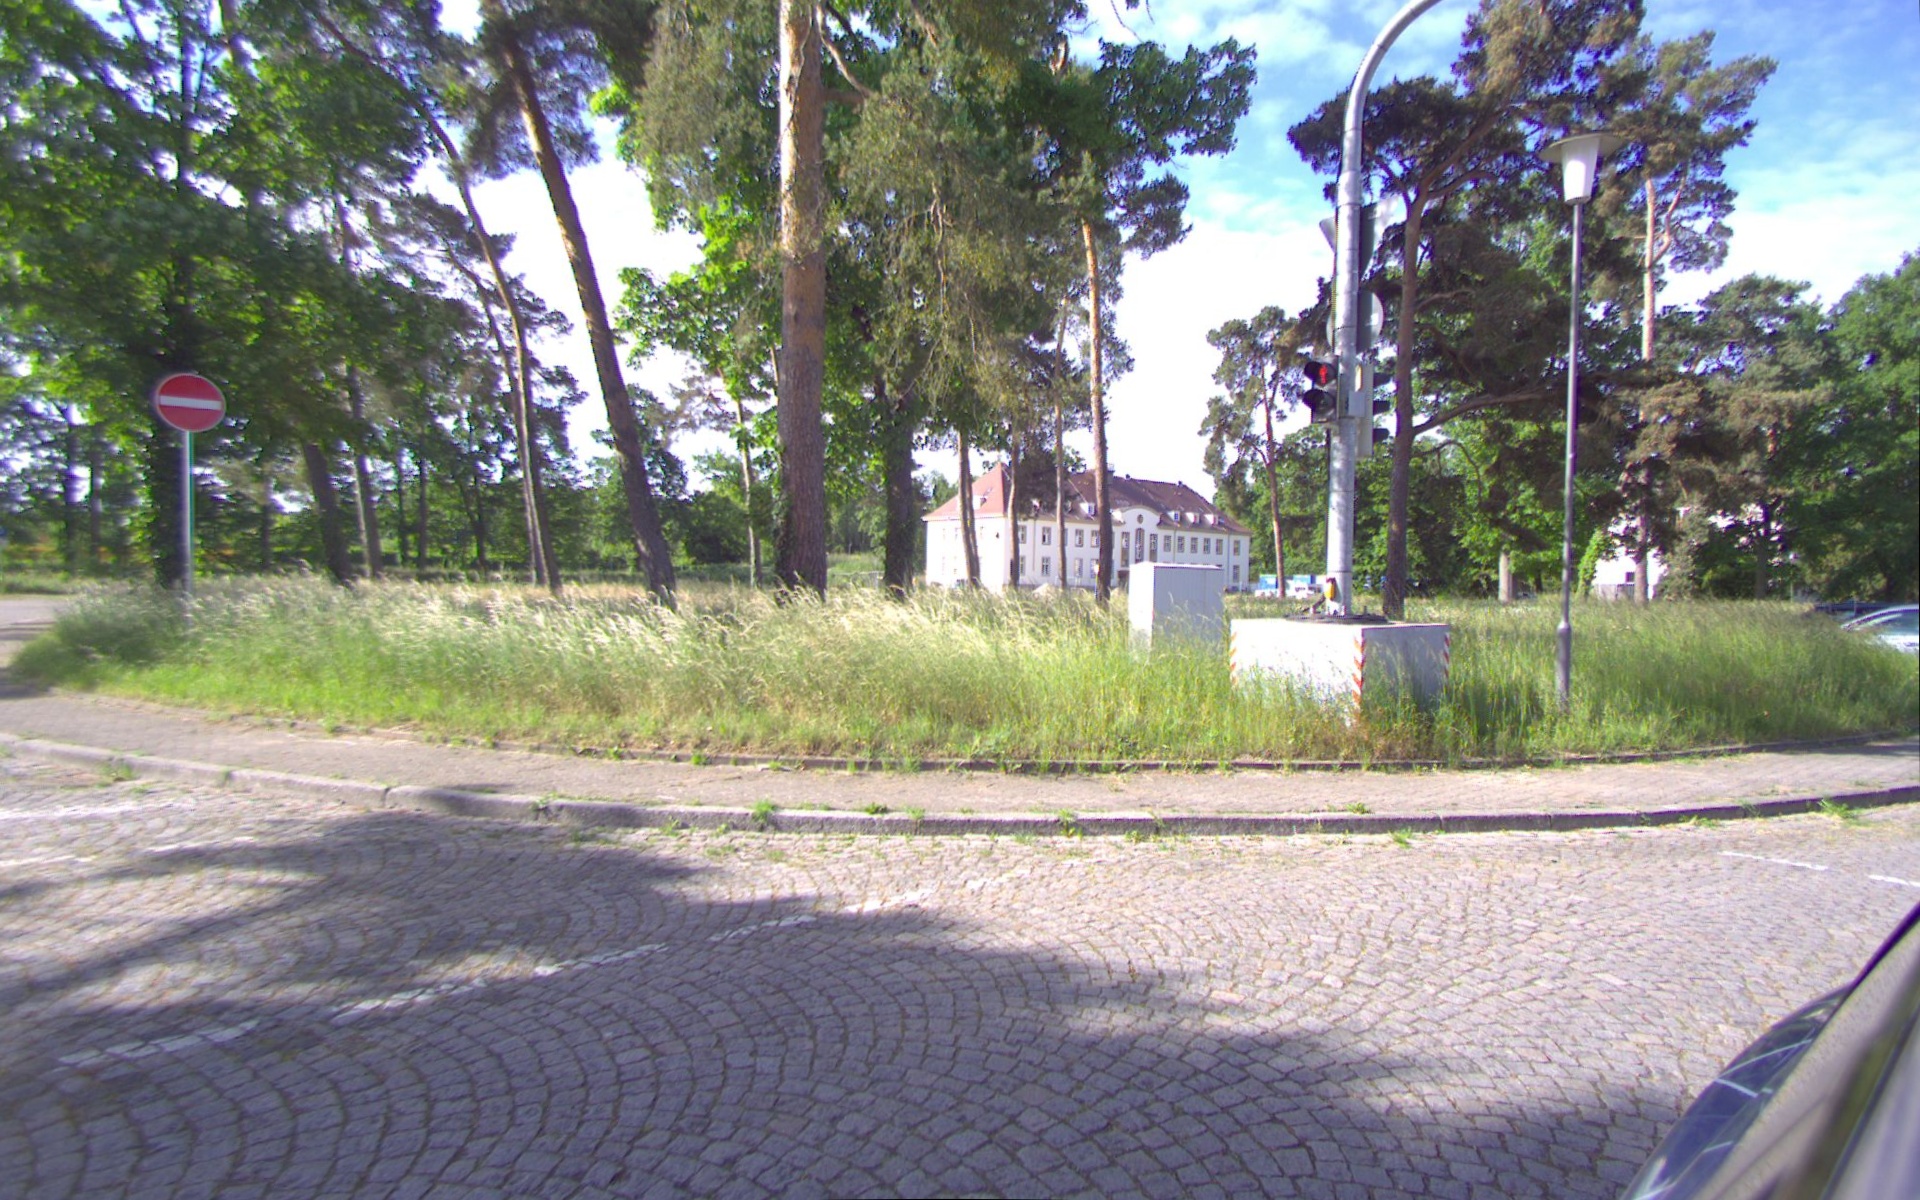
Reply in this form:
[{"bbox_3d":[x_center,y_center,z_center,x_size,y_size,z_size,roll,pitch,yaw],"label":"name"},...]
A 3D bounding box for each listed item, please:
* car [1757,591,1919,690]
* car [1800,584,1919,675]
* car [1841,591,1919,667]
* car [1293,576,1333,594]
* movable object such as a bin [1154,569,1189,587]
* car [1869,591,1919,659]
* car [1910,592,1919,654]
[{"bbox_3d":[15.720,0.661,16.416,1.836,1.478,4.028,0,2,-37],"label":"car"},{"bbox_3d":[17.894,0.567,17.803,1.794,1.535,4.505,0,3,-40],"label":"car"},{"bbox_3d":[20.076,0.659,19.453,1.792,1.419,4.425,0,3,-37],"label":"car"},{"bbox_3d":[40.334,-1.714,115.550,4.683,2.039,2.000,0,1,-36],"label":"car"},{"bbox_3d":[28.001,-2.933,133.899,4.899,2.352,1.998,0,2,-41],"label":"movable object such as a bin"},{"bbox_3d":[21.668,0.609,20.978,1.630,1.410,3.920,0,3,-37],"label":"car"},{"bbox_3d":[25.355,0.622,24.085,1.520,1.509,3.781,0,2,-37],"label":"car"}]
